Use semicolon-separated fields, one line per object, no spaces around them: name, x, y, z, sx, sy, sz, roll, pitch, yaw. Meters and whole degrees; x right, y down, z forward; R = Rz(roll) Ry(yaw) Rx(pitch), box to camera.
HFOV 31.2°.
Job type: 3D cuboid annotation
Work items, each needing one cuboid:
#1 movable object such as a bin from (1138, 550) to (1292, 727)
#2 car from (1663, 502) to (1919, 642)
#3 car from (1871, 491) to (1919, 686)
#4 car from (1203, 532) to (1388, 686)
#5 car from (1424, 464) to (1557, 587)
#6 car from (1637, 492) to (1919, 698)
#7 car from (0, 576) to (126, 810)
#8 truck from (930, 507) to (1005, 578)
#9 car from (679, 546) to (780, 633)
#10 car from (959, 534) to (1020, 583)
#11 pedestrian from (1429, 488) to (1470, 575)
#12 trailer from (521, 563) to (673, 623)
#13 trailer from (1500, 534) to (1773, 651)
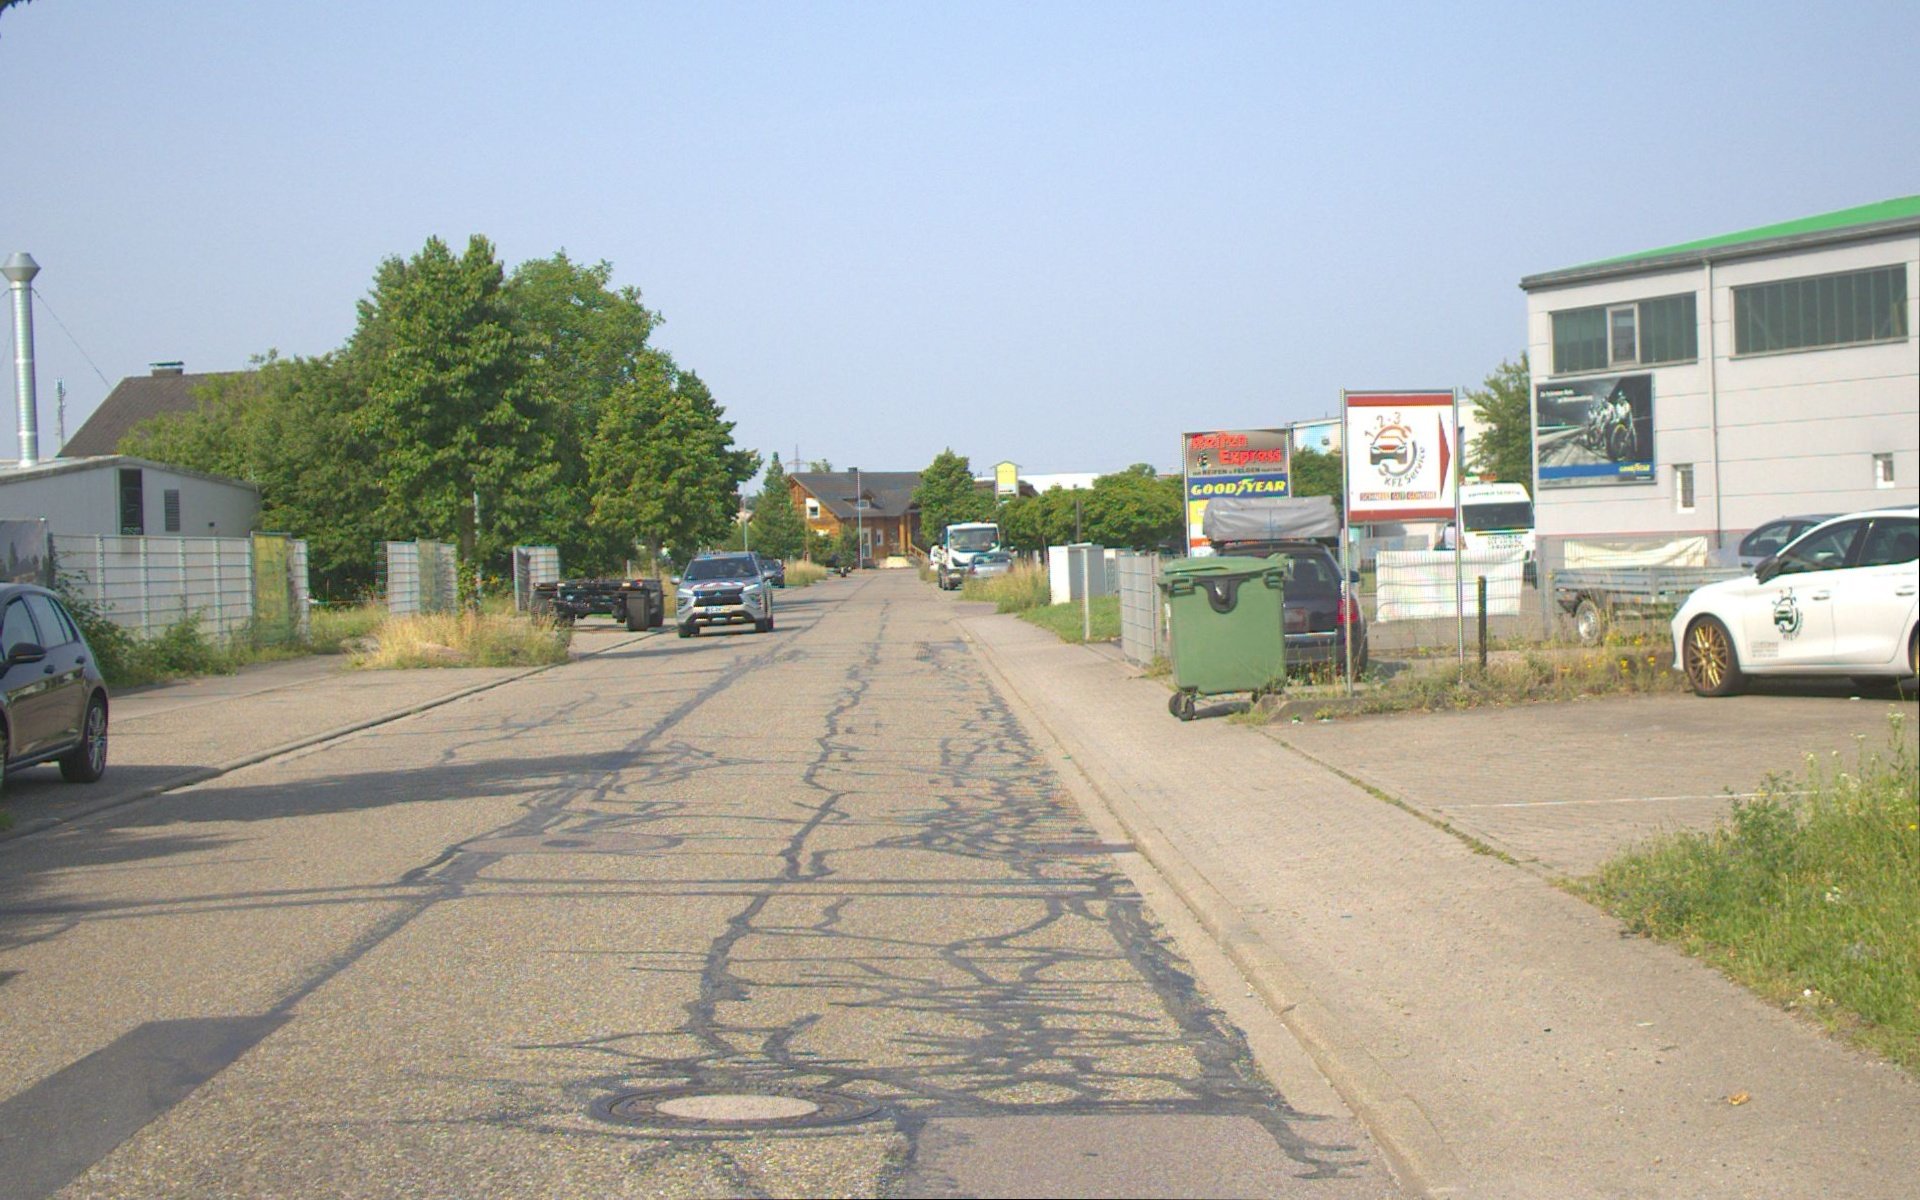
movable object such as a bin;2.122;0.302;28.824;1.081;1.348;1.506;-5;1;0
car;9.945;-0.332;38.590;1.639;1.461;4.462;-3;1;-25
car;9.127;-0.126;26.629;1.715;1.567;4.134;-3;1;-25
car;3.319;0.043;34.631;1.674;1.364;4.393;-2;1;4
car;12.369;-1.741;80.476;1.974;2.696;5.881;-2;1;-1
car;7.060;-0.074;25.693;1.687;1.461;4.263;-3;1;-25
car;-7.059;0.635;23.380;1.687;1.465;4.093;-2;1;0
truck;0.268;-2.282;136.739;2.359;2.672;6.512;-2;1;-4
car;-4.677;-0.247;70.115;1.811;1.621;4.250;-3;1;-1
car;0.955;-1.385;112.882;1.794;1.512;4.424;-2;1;-1
pedestrian;9.388;-1.319;65.950;0.702;1.634;0.749;-2;1;7
trailer;-8.021;-0.196;76.897;2.582;1.180;9.364;-1;1;-1
trailer;7.572;-0.103;38.679;1.490;1.244;2.978;-1;1;-27
